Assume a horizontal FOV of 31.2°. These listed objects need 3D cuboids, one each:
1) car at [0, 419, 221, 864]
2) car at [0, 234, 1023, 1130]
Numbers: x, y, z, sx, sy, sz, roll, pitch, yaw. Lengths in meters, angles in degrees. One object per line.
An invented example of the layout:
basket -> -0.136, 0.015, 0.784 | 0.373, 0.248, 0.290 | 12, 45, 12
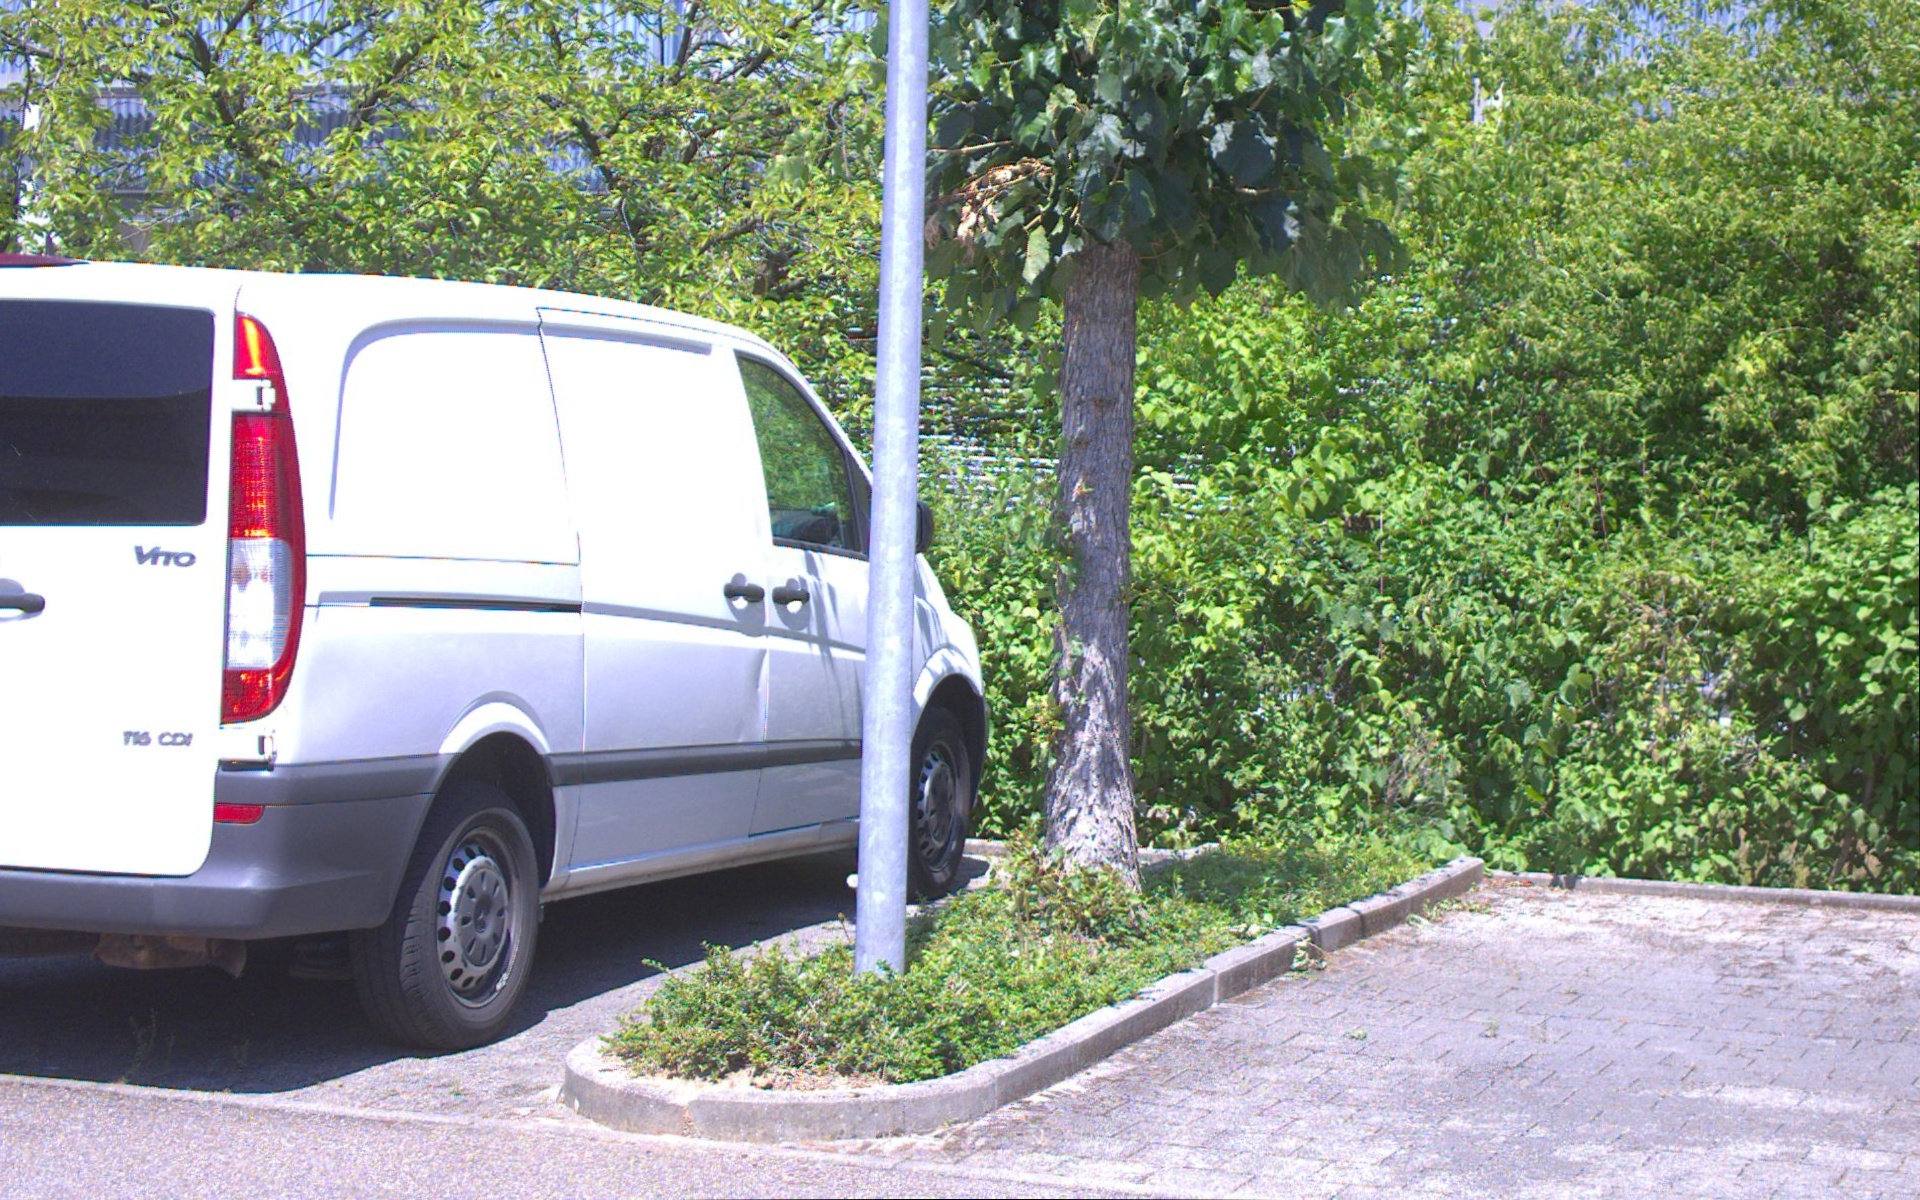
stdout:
car -> -4.095, 0.139, 11.292 | 1.755, 1.471, 3.998 | 1, 3, 12
car -> -1.524, 0.049, 9.852 | 1.915, 1.898, 4.803 | 1, 3, 20
